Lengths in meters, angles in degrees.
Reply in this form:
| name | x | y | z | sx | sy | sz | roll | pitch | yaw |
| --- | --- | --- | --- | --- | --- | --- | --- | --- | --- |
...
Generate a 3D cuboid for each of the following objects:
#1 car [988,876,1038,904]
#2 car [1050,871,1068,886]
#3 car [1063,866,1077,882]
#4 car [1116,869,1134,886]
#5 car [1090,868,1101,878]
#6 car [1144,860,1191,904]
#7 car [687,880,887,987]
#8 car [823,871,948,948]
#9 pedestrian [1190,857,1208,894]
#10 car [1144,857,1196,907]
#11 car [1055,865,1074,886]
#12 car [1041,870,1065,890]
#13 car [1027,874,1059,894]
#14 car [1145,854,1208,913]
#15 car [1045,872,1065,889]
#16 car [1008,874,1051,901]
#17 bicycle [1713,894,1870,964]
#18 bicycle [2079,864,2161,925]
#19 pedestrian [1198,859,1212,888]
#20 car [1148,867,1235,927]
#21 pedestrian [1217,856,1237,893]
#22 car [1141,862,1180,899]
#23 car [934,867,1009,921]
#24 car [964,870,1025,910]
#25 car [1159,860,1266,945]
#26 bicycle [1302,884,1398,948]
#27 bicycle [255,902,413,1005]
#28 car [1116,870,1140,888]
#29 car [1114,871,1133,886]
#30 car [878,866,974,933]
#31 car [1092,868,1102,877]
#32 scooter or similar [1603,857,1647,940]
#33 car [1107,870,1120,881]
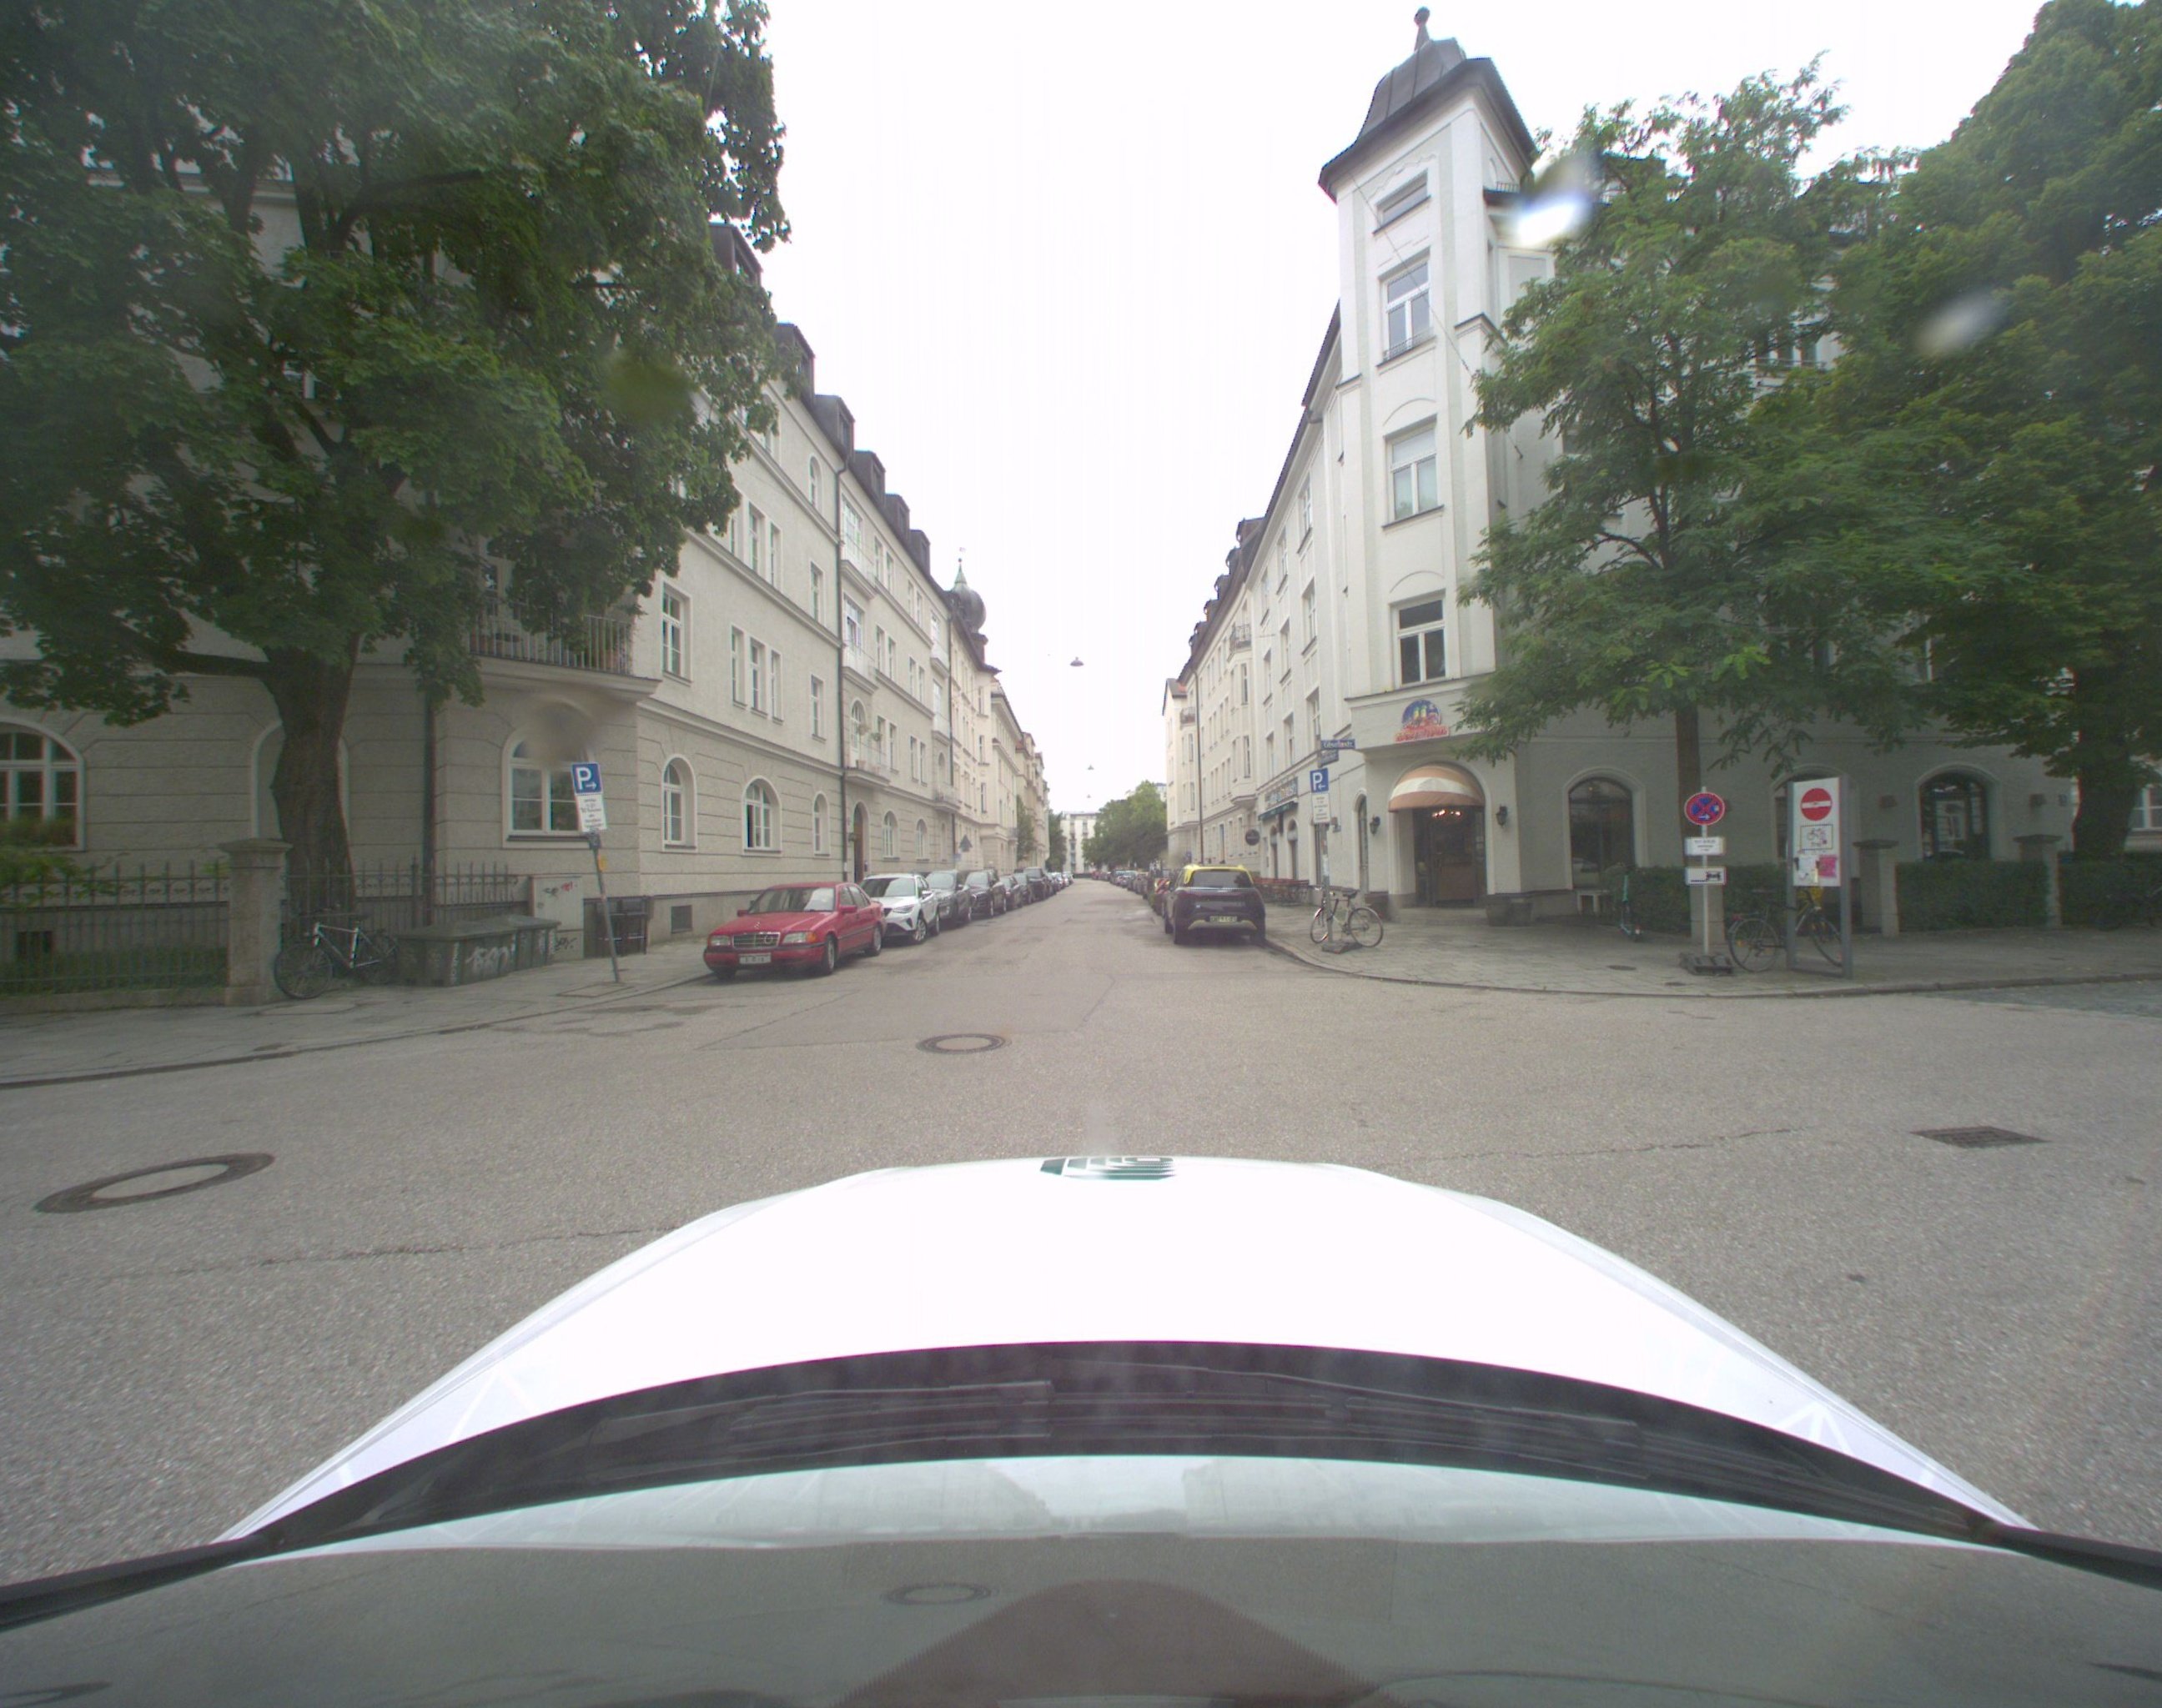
| name | x | y | z | sx | sy | sz | roll | pitch | yaw |
| --- | --- | --- | --- | --- | --- | --- | --- | --- | --- |
| car | -3.284 | 1.739 | 40.222 | 1.899 | 1.222 | 4.002 | -2 | -1 | 3 |
| car | -2.548 | 2.843 | 95.117 | 1.988 | 1.574 | 3.998 | -2 | -1 | -1 |
| car | -1.516 | 2.771 | 113.362 | 1.840 | 2.014 | 3.999 | -2 | -1 | 0 |
| car | 5.615 | 3.014 | 104.822 | 1.987 | 1.982 | 4.892 | -1 | -1 | 0 |
| car | 3.041 | 4.039 | 171.237 | 1.988 | 1.982 | 4.889 | -1 | -1 | -2 |
| car | 3.932 | 1.263 | 37.823 | 1.985 | 1.857 | 4.349 | -1 | -1 | 4 |
| car | -4.589 | 1.166 | 13.432 | 1.725 | 1.378 | 4.226 | -2 | -1 | 0 |
| car | -4.262 | 1.143 | 18.430 | 1.989 | 1.473 | 4.213 | -2 | -1 | -3 |
| pedestrian | 6.000 | 1.099 | 41.490 | 0.775 | 1.851 | 1.023 | -2 | -1 | 3 |
| car | 3.578 | 1.103 | 33.456 | 1.813 | 1.923 | 4.185 | 0 | -1 | 2 |
| car | -1.684 | 2.219 | 84.669 | 1.840 | 2.014 | 3.999 | -2 | -1 | 0 |
| car | -2.326 | 2.167 | 68.347 | 1.815 | 1.574 | 3.998 | -2 | -1 | -1 |
| car | -2.628 | 2.065 | 56.769 | 1.900 | 1.222 | 4.000 | -2 | -1 | 1 |
| car | 3.217 | 0.977 | 28.195 | 1.813 | 1.871 | 4.290 | 0 | -1 | 2 |
| car | -2.355 | 2.389 | 74.303 | 1.729 | 1.420 | 3.998 | -2 | -1 | -1 |
| car | -2.774 | 1.802 | 45.087 | 1.899 | 1.329 | 4.002 | -2 | -1 | 3 |
| bicycle | 9.028 | 0.951 | 10.393 | 1.405 | 0.783 | 0.545 | -3 | -1 | 10 |
| bicycle | 17.304 | 0.656 | 13.360 | 1.454 | 0.948 | 0.430 | -1 | 2 | -5 |
| pedestrian | 8.017 | 1.231 | 52.633 | 0.773 | 1.851 | 0.861 | -2 | -1 | 9 |
| car | 2.993 | 1.129 | 22.941 | 1.968 | 1.498 | 4.639 | 0 | -1 | 2 |
| pedestrian | 7.340 | 1.019 | 41.001 | 0.775 | 1.851 | 1.023 | -2 | -1 | 3 |
| car | 4.091 | 1.343 | 42.417 | 1.813 | 1.787 | 4.185 | 0 | -1 | 2 |
| car | -3.715 | 1.330 | 28.298 | 1.987 | 1.676 | 4.287 | -2 | -1 | 0 |
| car | -3.586 | 1.478 | 34.363 | 1.918 | 1.546 | 4.003 | -1 | -1 | 3 |
| car | 2.754 | 0.978 | 17.955 | 1.813 | 1.636 | 4.290 | 0 | -1 | 2 |
| bicycle | 4.647 | 1.044 | 14.212 | 0.541 | 0.999 | 1.743 | -5 | 0 | -21 |
| bicycle | -9.550 | 1.226 | 10.508 | 0.493 | 1.052 | 1.823 | -1 | 1 | -6 |
| car | 4.346 | 2.298 | 76.044 | 1.900 | 1.576 | 3.999 | -2 | -1 | 0 |
| car | 4.504 | 2.583 | 86.769 | 1.724 | 1.418 | 3.851 | -2 | -1 | 0 |
| car | -4.273 | 1.205 | 23.063 | 1.988 | 1.676 | 4.009 | -2 | -1 | -1 |
| car | 3.470 | 4.196 | 182.516 | 1.988 | 1.982 | 4.889 | -1 | -1 | -2 |
| scooter or similar | 9.007 | 0.707 | 13.511 | 0.423 | 1.279 | 1.286 | -1 | 0 | 26 |
| car | 5.212 | 3.504 | 131.793 | 1.944 | 1.652 | 3.999 | -3 | -1 | 0 |
